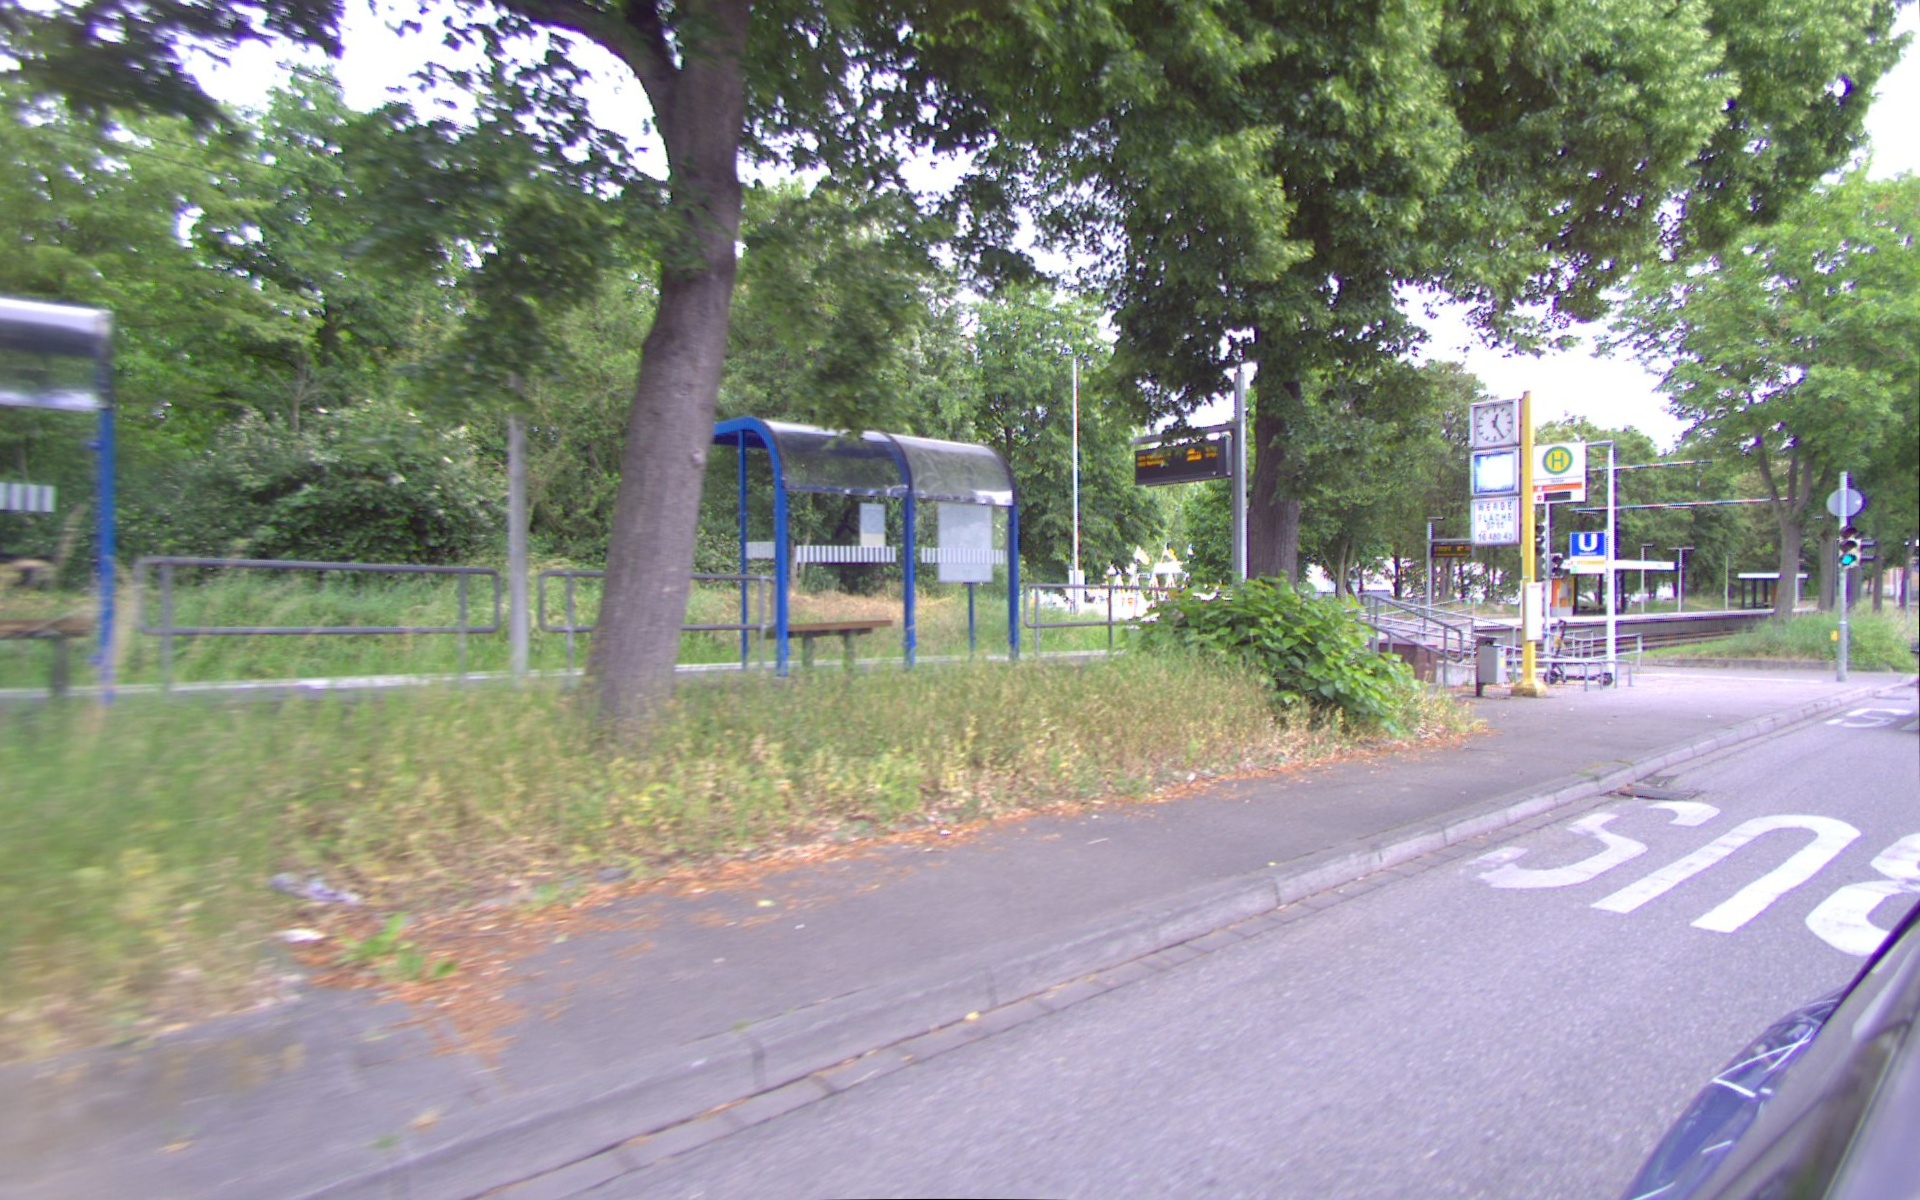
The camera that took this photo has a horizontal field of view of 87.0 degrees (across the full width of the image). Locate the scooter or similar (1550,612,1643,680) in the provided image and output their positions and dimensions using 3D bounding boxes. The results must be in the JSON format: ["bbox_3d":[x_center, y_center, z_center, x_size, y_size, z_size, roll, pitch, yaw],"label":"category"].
[{"bbox_3d":[12.087,0.851,19.247,1.444,1.259,0.480,-1,-1,29],"label":"scooter or similar"}]

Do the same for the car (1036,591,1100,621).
[{"bbox_3d":[9.021,0.480,84.466,5.705,2.414,1.997,0,-1,-41],"label":"car"}]
